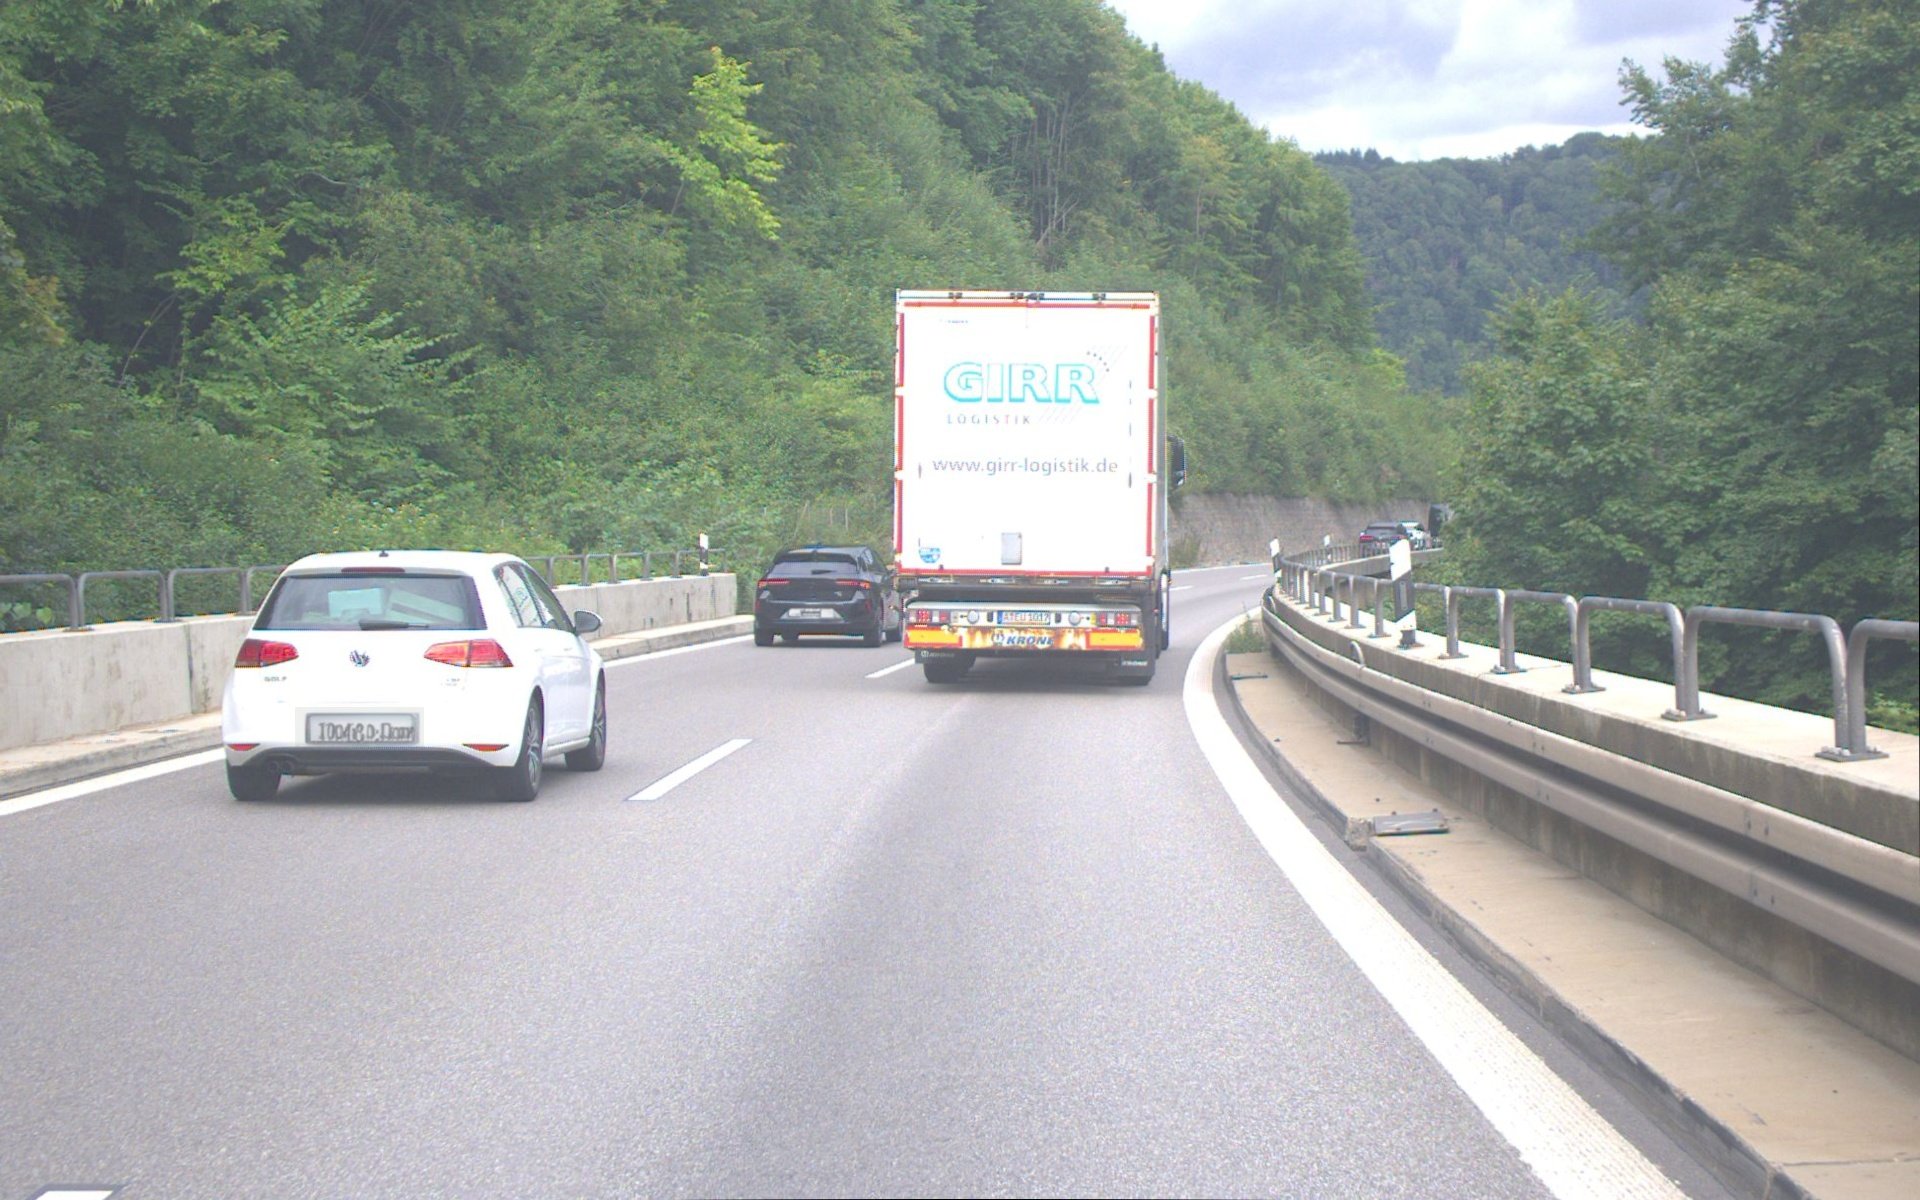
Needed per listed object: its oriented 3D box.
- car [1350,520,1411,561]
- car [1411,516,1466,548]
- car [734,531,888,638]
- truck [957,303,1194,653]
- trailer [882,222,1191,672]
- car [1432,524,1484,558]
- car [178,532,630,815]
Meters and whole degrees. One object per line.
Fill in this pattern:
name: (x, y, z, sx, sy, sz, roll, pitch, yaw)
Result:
car: (17.367, -2.449, 141.854, 1.995, 1.560, 3.997, -1, 0, 14)
car: (22.954, -3.264, 164.950, 1.995, 1.481, 3.997, 1, 1, 17)
car: (-2.091, -0.223, 49.442, 1.773, 1.456, 4.581, 0, 0, 3)
truck: (1.640, -1.517, 45.744, 2.814, 4.288, 6.258, -1, 0, 4)
trailer: (1.147, -1.488, 39.263, 2.814, 4.288, 12.243, -1, 0, 4)
car: (26.491, -3.154, 182.882, 1.995, 1.777, 3.996, 1, 1, 20)
car: (-3.250, 0.359, 21.031, 1.845, 1.476, 4.628, -1, 2, 2)
